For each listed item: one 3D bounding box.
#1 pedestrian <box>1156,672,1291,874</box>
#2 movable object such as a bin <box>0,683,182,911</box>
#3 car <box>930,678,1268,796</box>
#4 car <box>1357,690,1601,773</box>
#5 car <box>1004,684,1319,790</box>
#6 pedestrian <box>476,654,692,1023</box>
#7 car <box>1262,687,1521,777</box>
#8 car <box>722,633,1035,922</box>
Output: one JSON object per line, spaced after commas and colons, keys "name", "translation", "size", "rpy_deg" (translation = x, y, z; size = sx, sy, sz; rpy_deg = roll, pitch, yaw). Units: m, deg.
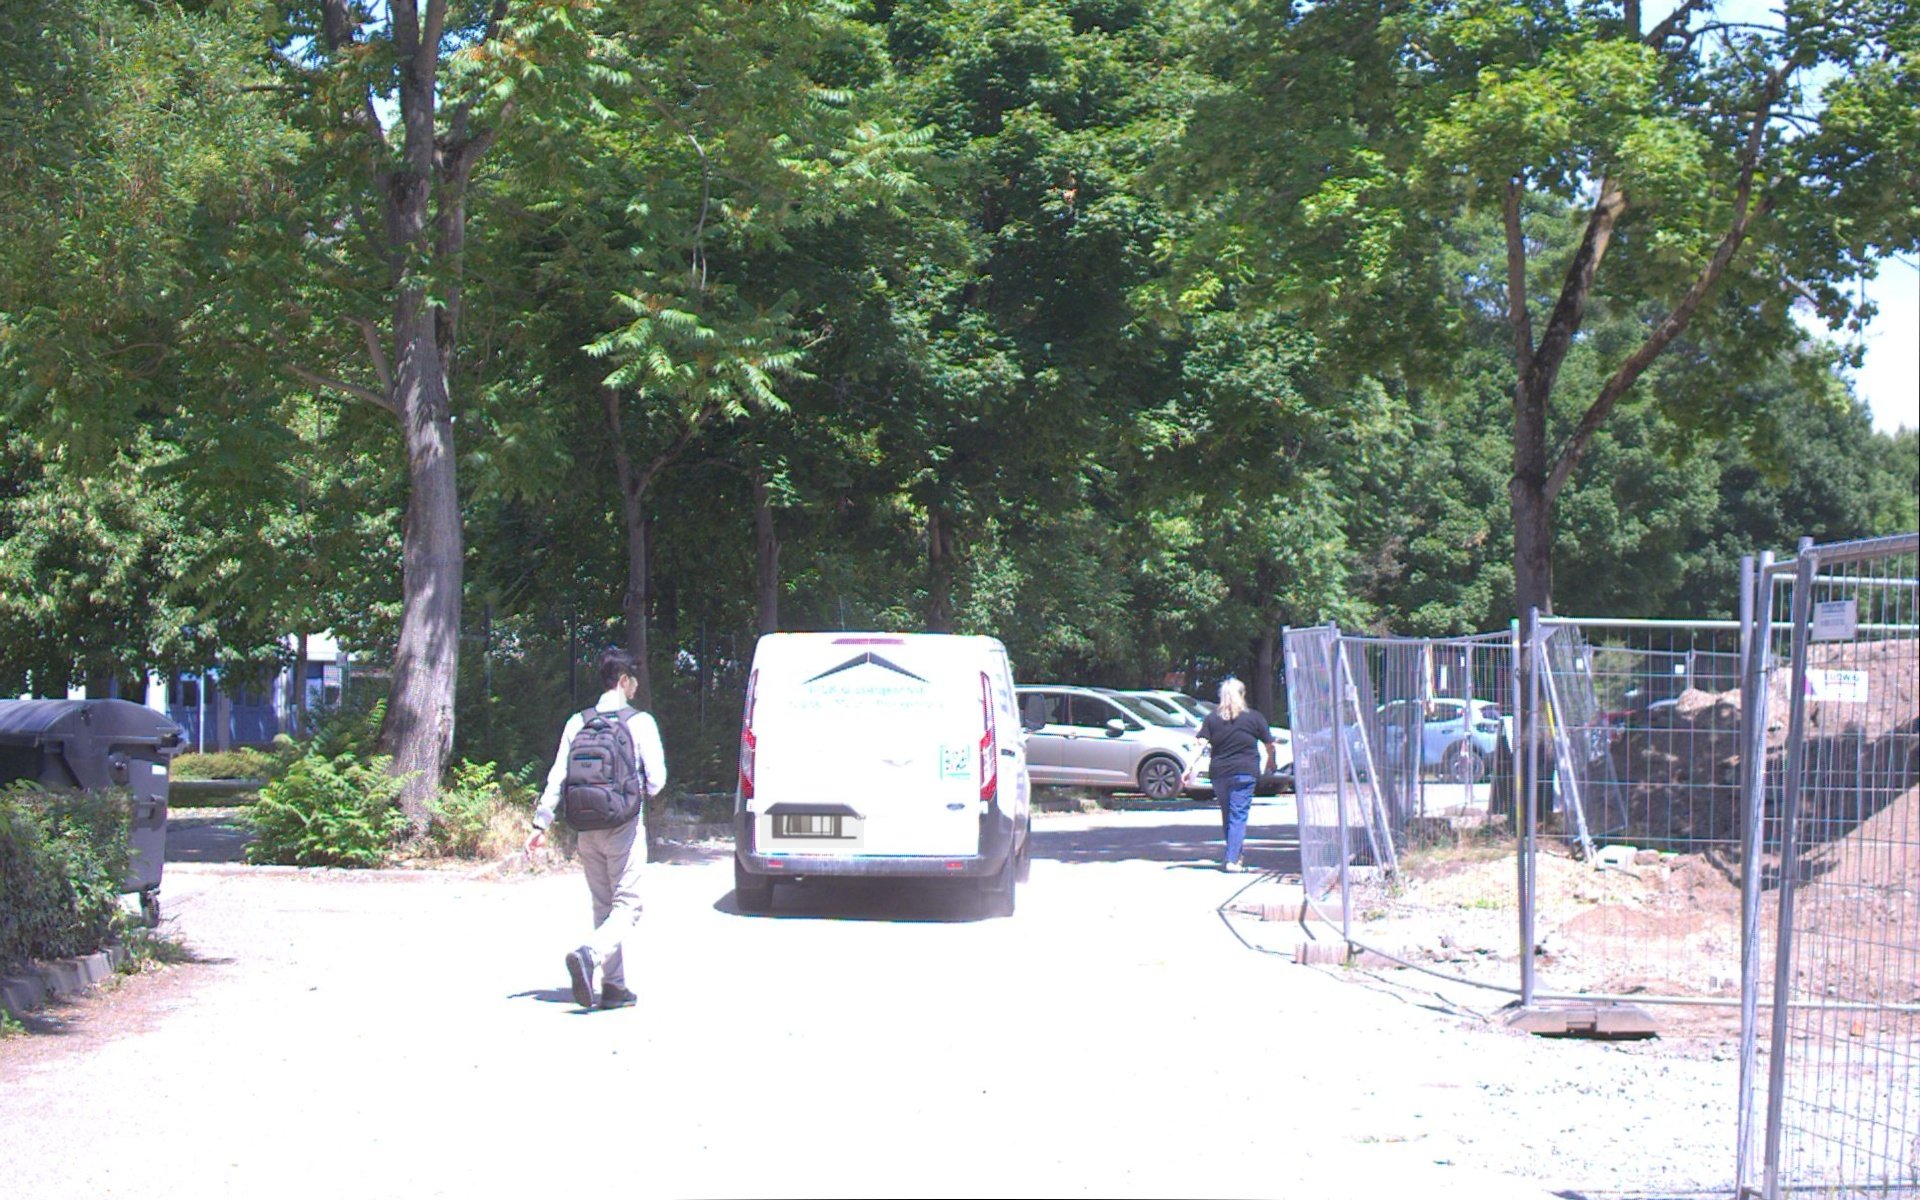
{"name": "pedestrian", "translation": [2.213, 1.428, 28.755], "size": [1.035, 1.644, 1.048], "rpy_deg": [0, -1, 10]}
{"name": "movable object such as a bin", "translation": [-5.747, 1.228, 21.881], "size": [1.113, 1.389, 1.160], "rpy_deg": [1, -2, -43]}
{"name": "car", "translation": [2.039, 2.018, 50.503], "size": [4.511, 1.604, 1.997], "rpy_deg": [0, -4, 25]}
{"name": "car", "translation": [10.486, 2.636, 69.423], "size": [4.511, 1.592, 1.934], "rpy_deg": [0, -2, 24]}
{"name": "car", "translation": [3.093, 2.086, 52.804], "size": [4.511, 1.526, 1.723], "rpy_deg": [0, -2, 24]}
{"name": "pedestrian", "translation": [-1.810, 1.128, 16.701], "size": [0.874, 1.724, 1.080], "rpy_deg": [0, -1, 3]}
{"name": "car", "translation": [8.073, 2.446, 64.354], "size": [4.511, 1.592, 1.723], "rpy_deg": [0, -1, 24]}
{"name": "car", "translation": [-0.505, 1.256, 25.571], "size": [1.973, 1.940, 4.580], "rpy_deg": [0, -1, 3]}
